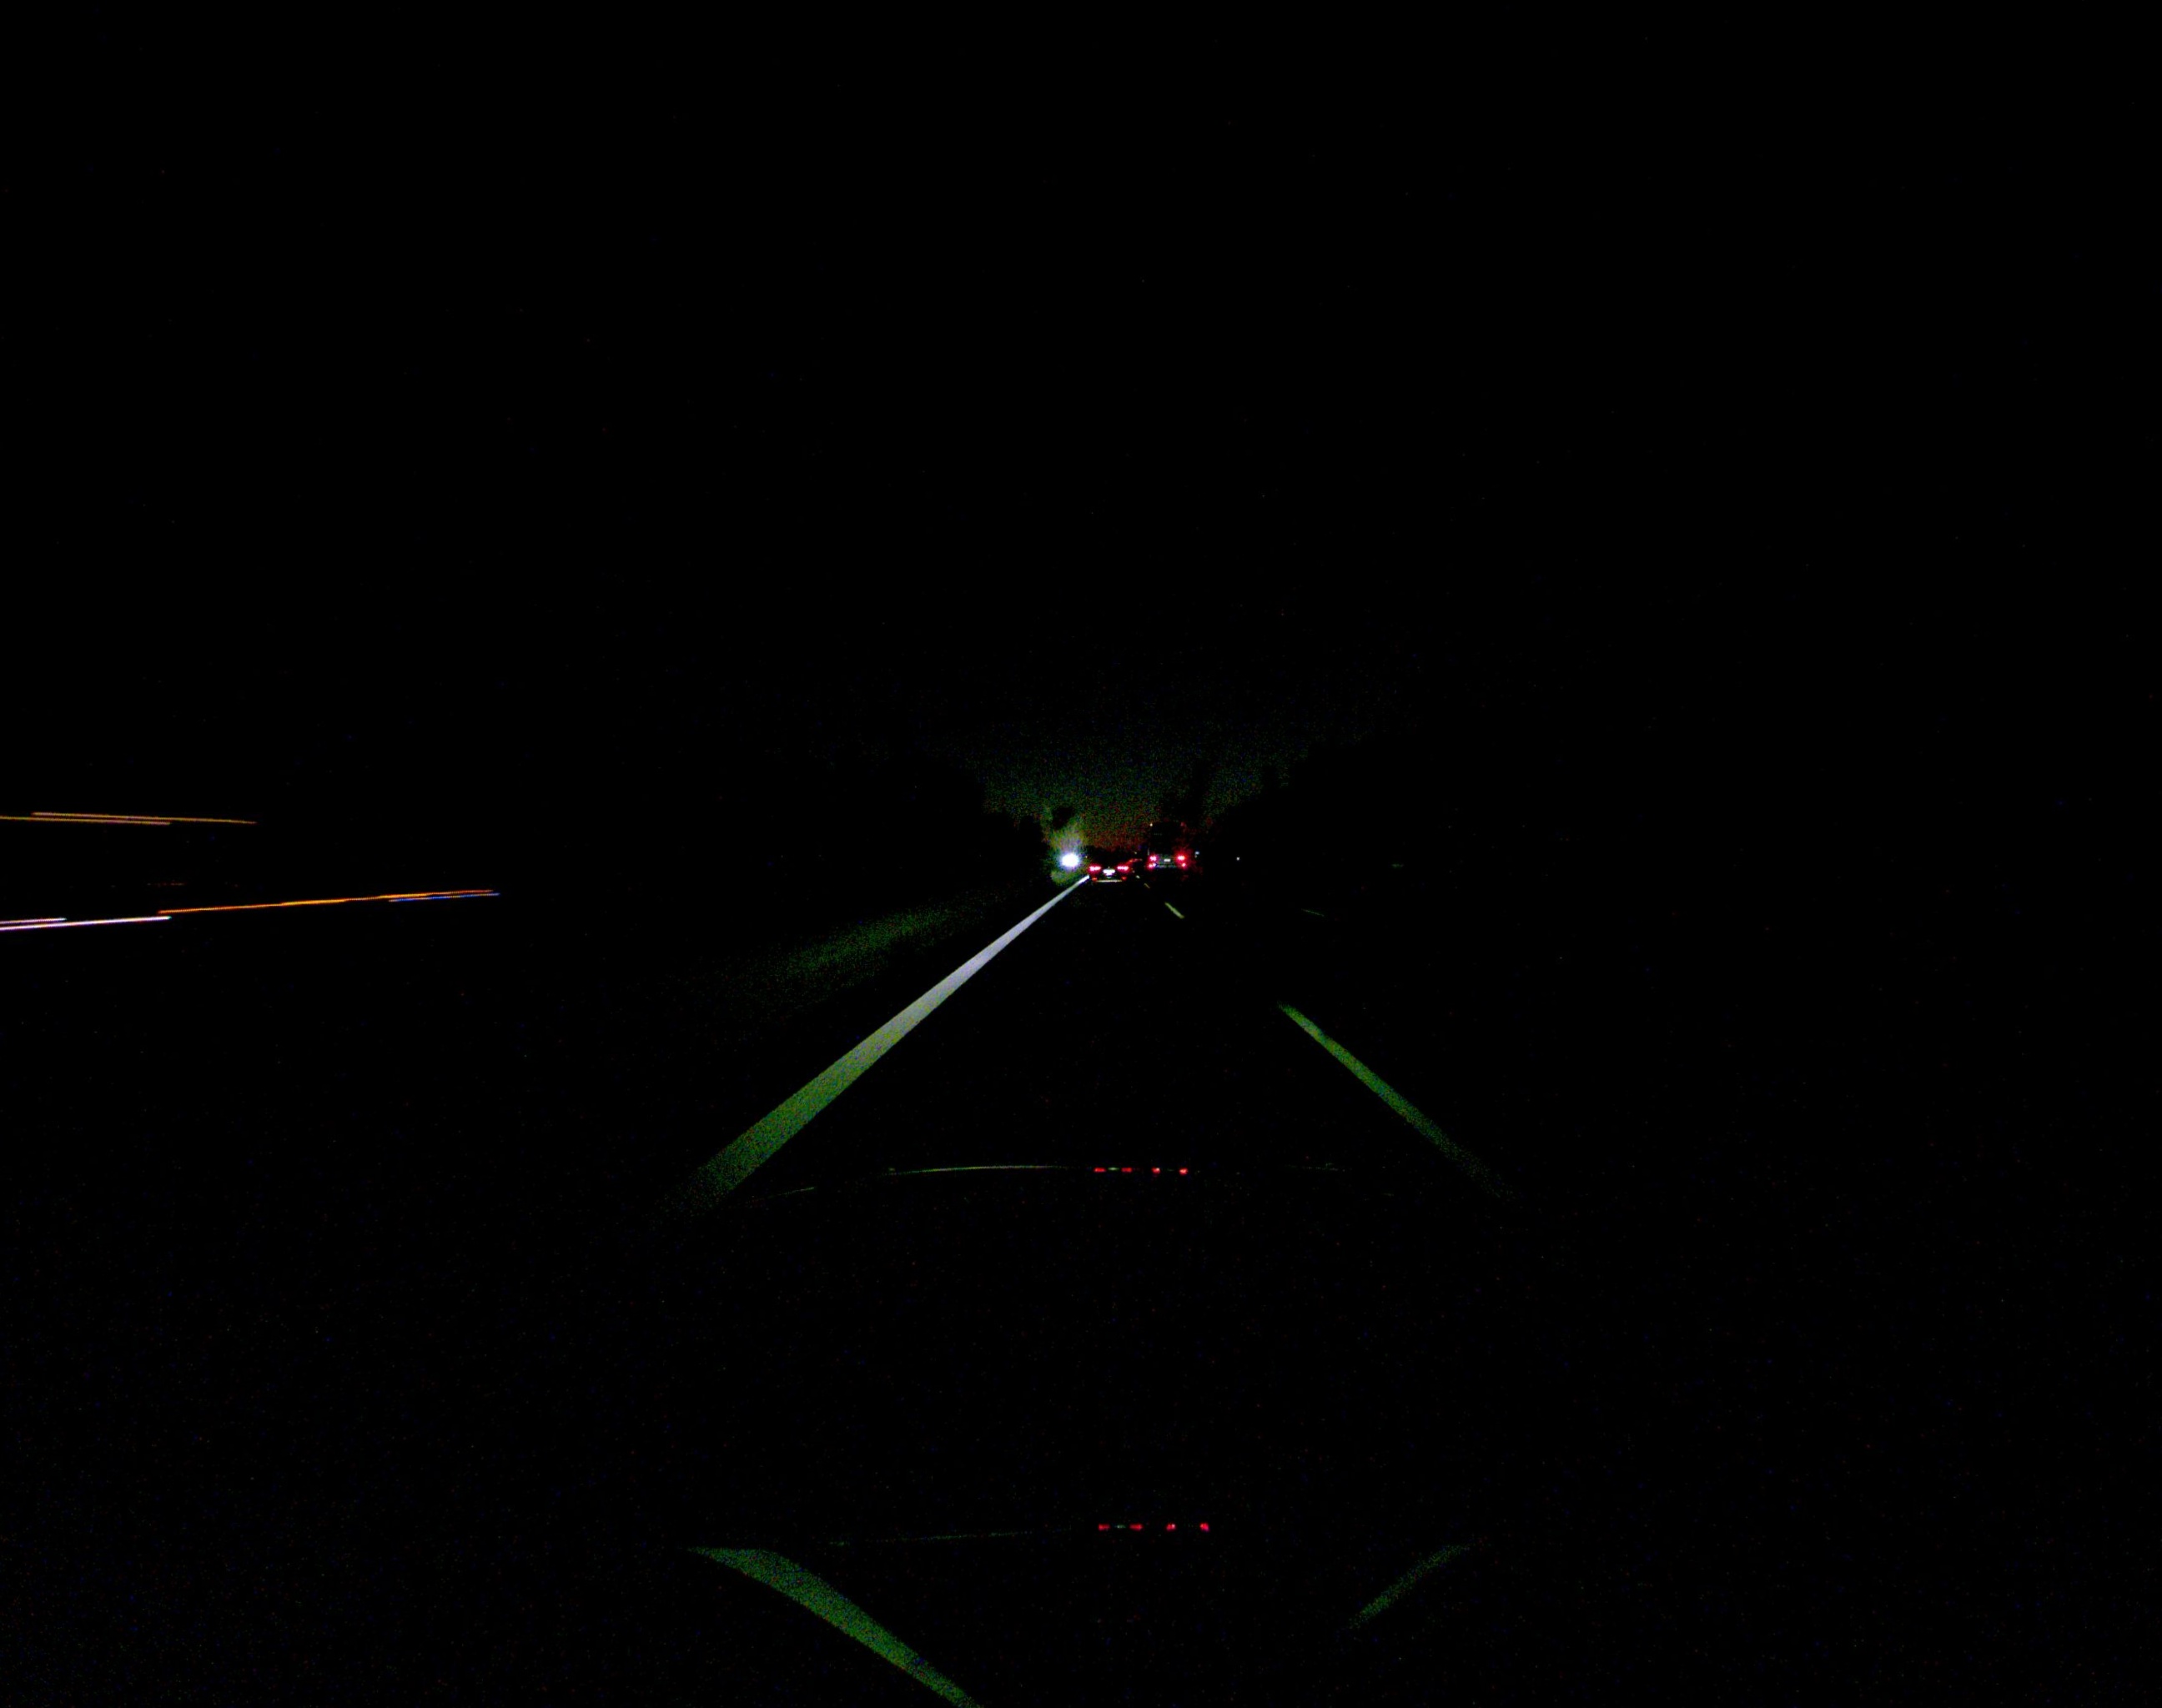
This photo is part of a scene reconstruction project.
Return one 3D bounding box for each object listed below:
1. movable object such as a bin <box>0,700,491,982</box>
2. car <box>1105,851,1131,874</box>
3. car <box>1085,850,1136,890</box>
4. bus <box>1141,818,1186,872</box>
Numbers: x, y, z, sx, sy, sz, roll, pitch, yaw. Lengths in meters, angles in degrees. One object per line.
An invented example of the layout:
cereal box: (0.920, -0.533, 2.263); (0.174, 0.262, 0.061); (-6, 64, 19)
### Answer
movable object such as a bin: (-14.743, -0.158, 14.754); (2.284, 3.769, 7.689); (-1, 0, 2)
car: (2.952, 0.732, 65.686); (1.905, 1.730, 3.998); (2, -1, -1)
car: (1.327, 0.728, 36.945); (2.098, 1.618, 4.205); (-3, -1, 1)
bus: (6.814, -0.572, 69.218); (2.642, 3.994, 14.708); (-3, -1, 2)
